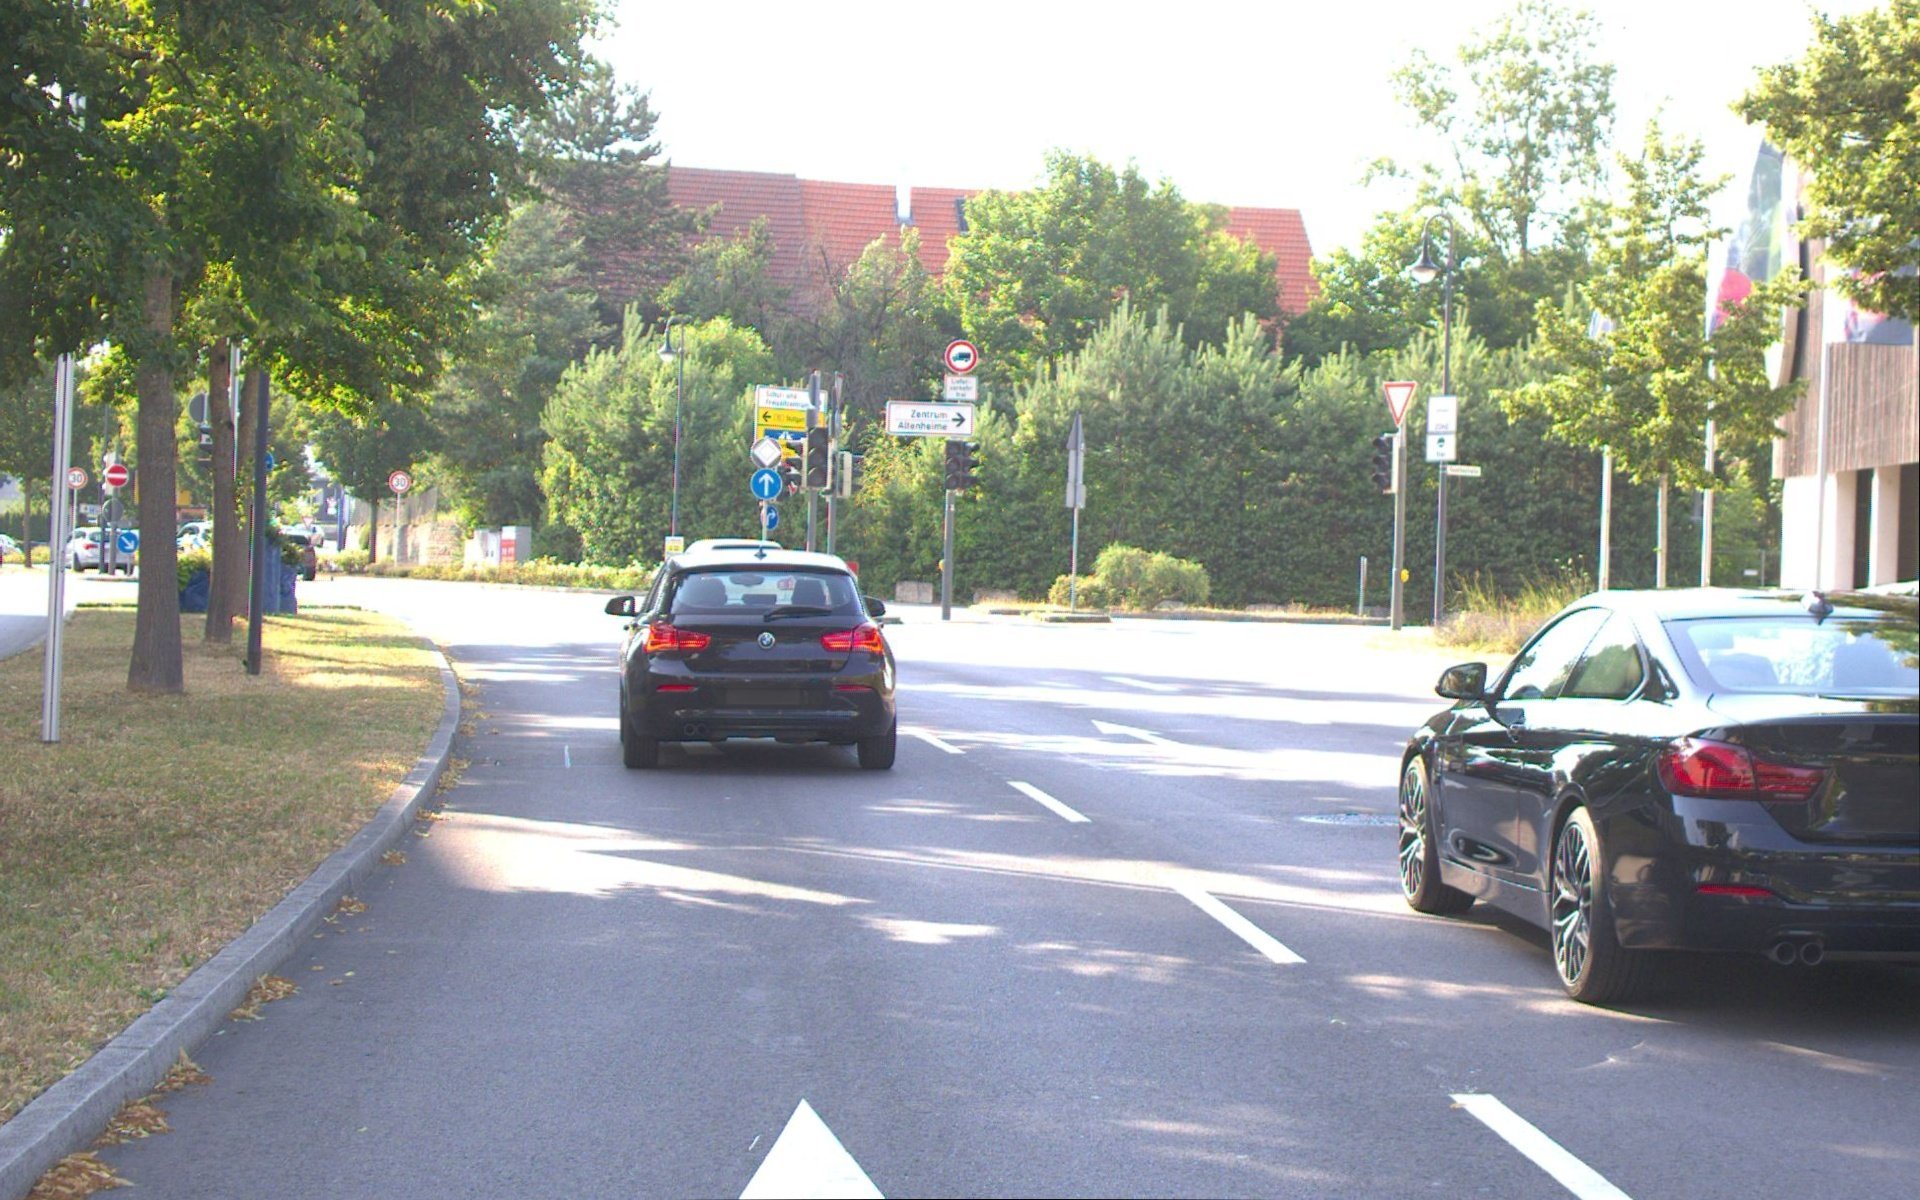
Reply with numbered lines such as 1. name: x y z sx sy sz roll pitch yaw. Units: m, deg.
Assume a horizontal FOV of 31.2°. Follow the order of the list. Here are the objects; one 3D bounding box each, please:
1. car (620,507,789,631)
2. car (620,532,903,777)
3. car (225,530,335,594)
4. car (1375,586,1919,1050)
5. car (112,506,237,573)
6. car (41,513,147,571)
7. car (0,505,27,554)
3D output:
1. car: -3.925 -0.486 52.212 1.924 1.763 4.456 1 1 -12
2. car: -1.432 0.311 23.623 1.721 1.485 4.354 2 1 -5
3. car: -20.267 -1.135 102.279 2.257 1.669 4.589 3 1 -23
4. car: 2.817 0.658 12.570 1.920 1.359 4.353 1 1 -2
5. car: -21.555 -1.656 94.255 2.216 1.763 4.455 1 1 -28
6. car: -27.412 -1.840 108.773 2.216 1.763 4.455 1 1 -28
7. car: -35.785 -2.596 125.734 2.216 1.763 4.455 1 1 -28
